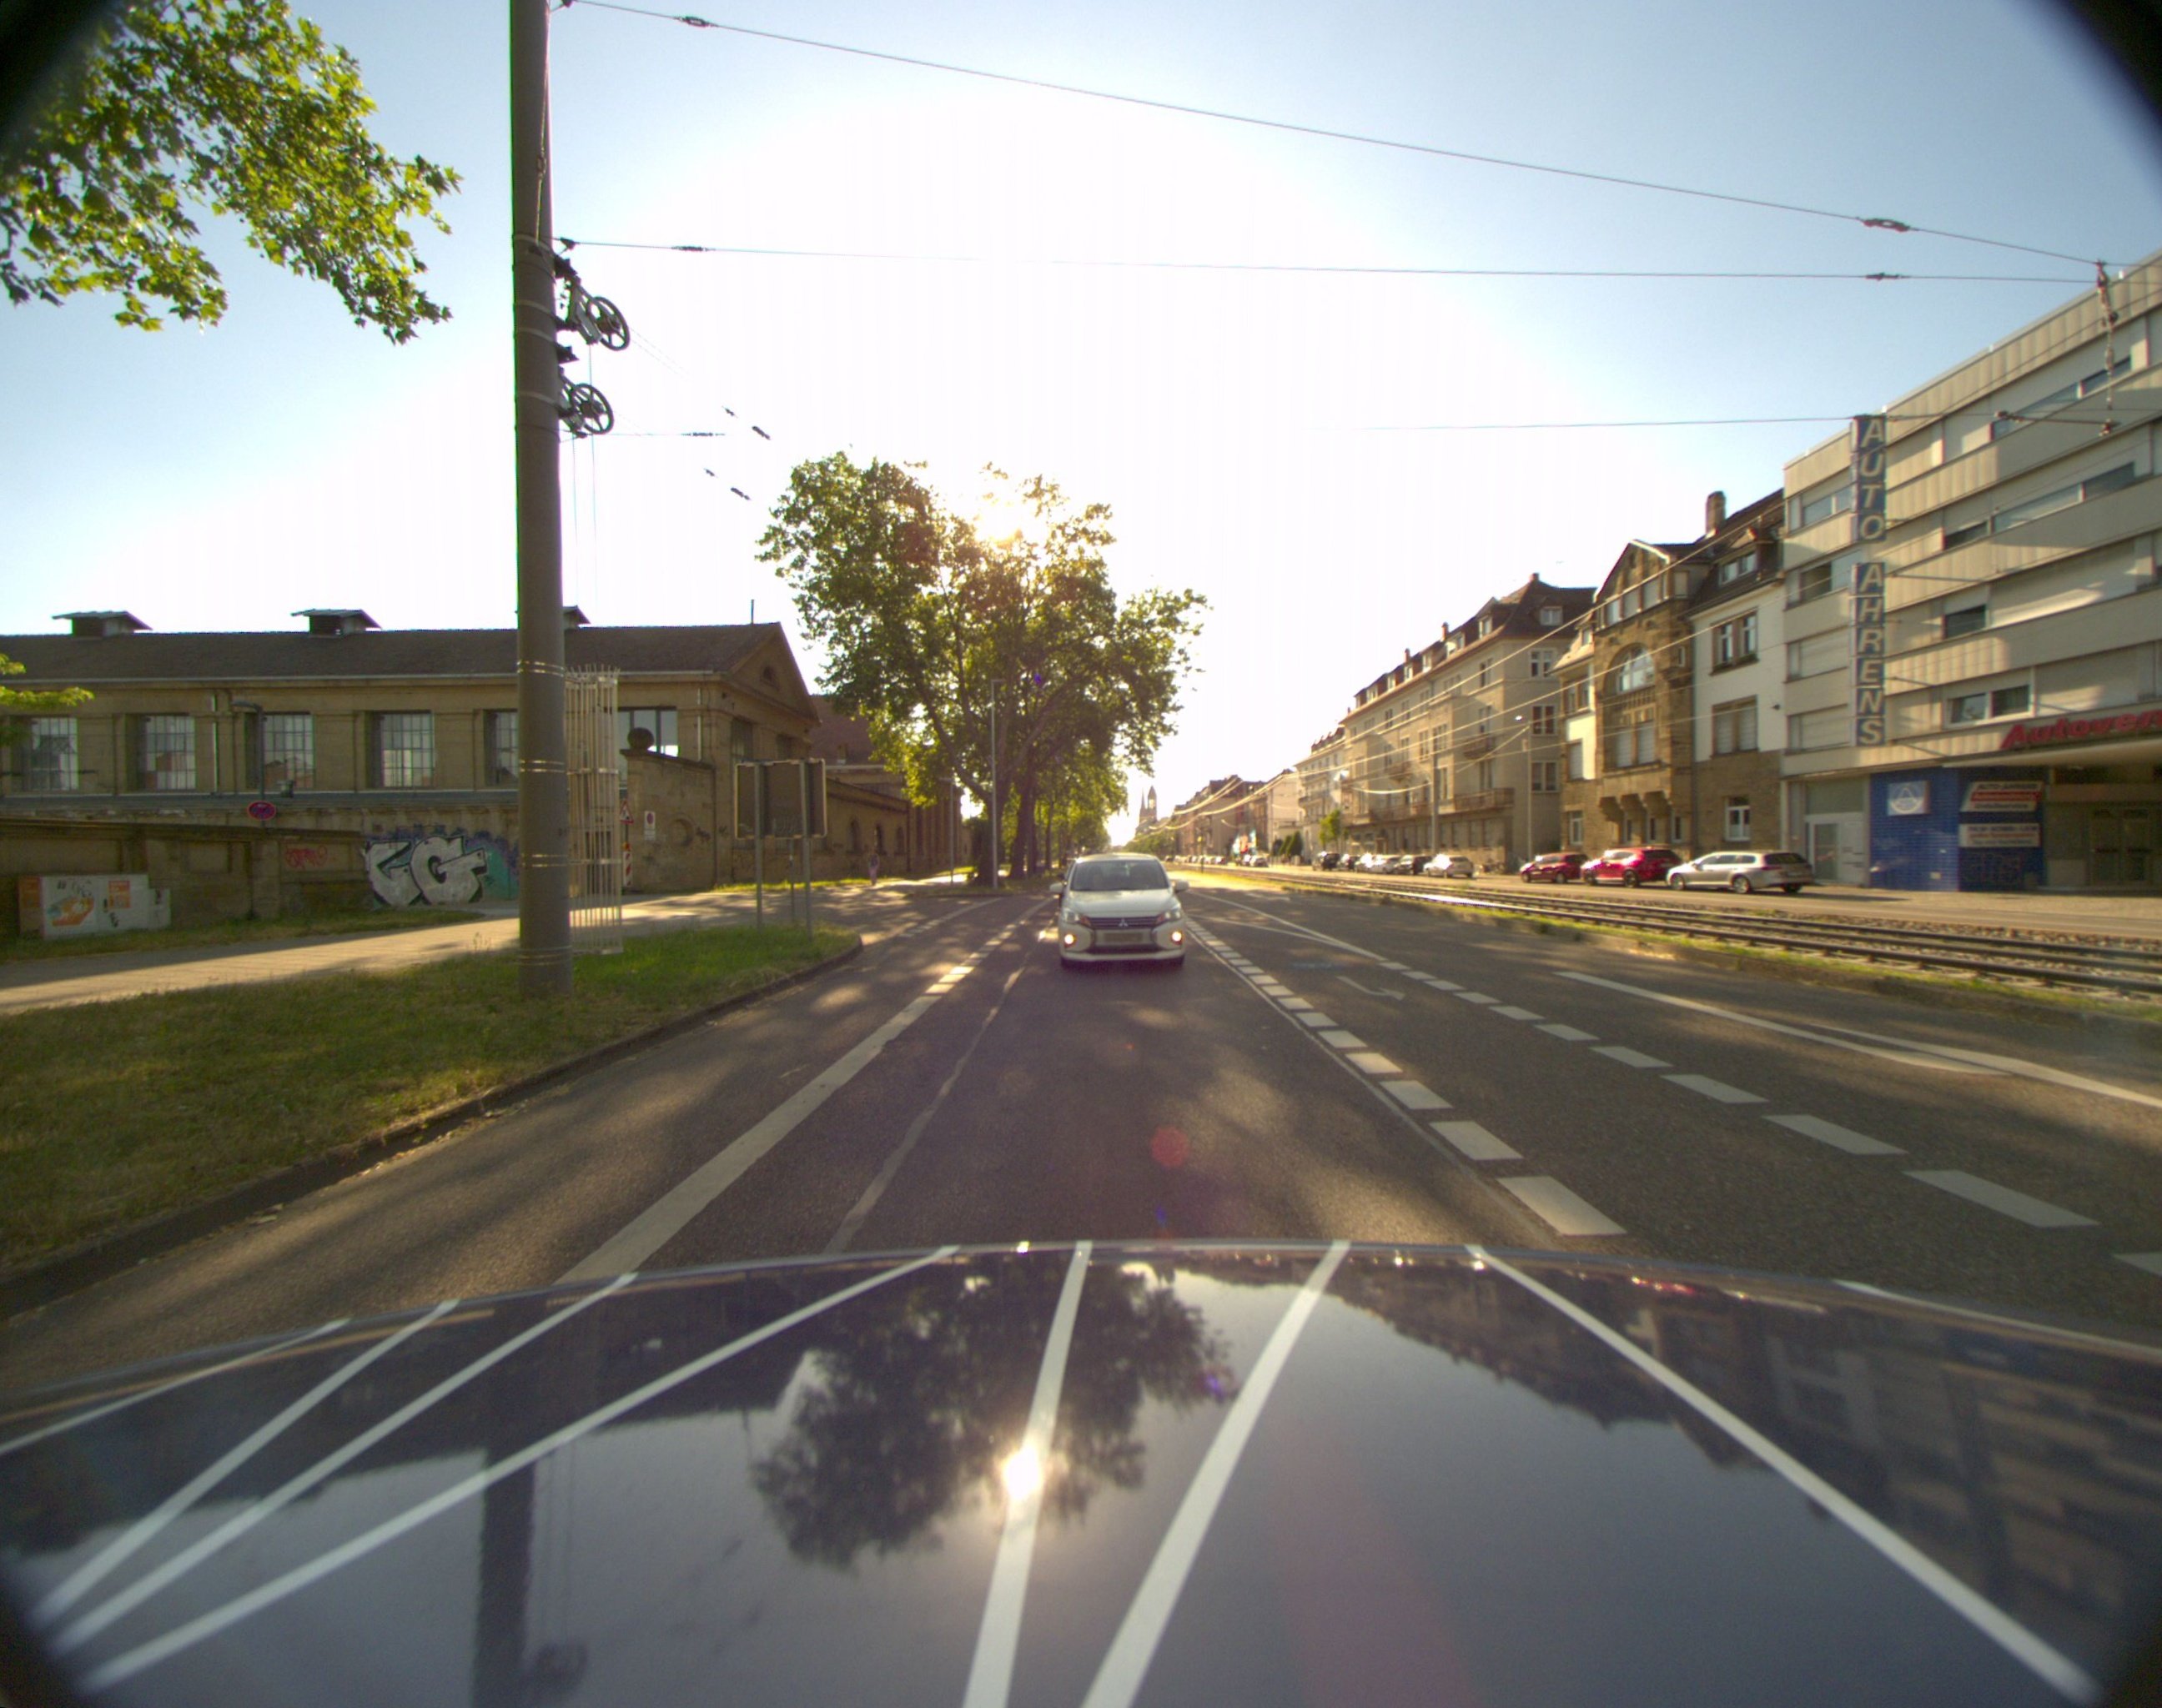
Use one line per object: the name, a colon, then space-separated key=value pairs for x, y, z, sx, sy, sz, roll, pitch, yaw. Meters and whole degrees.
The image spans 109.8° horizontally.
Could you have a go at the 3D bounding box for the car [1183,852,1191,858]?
car: x=26.518 y=0.222 z=189.591 sx=1.624 sy=1.581 sz=3.450 roll=-2 pitch=0 yaw=1

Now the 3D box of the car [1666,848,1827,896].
car: x=23.364 y=0.599 z=26.932 sx=1.860 sy=1.490 sz=4.382 roll=-2 pitch=0 yaw=0

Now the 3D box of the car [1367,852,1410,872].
car: x=23.744 y=0.587 z=58.784 sx=1.642 sy=1.438 sz=3.538 roll=-2 pitch=0 yaw=-6

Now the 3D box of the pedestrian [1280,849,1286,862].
pedestrian: x=27.102 y=0.194 z=101.883 sx=0.725 sy=1.779 sz=0.678 roll=0 pitch=1 yaw=1

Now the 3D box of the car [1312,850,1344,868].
car: x=24.384 y=0.468 z=75.097 sx=1.875 sy=1.726 sz=3.916 roll=-2 pitch=0 yaw=2

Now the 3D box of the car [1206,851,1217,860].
car: x=26.243 y=0.280 z=152.511 sx=1.624 sy=1.581 sz=3.450 roll=-2 pitch=0 yaw=1

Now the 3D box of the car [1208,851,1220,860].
car: x=25.718 y=0.288 z=147.120 sx=1.624 sy=1.581 sz=3.450 roll=-2 pitch=0 yaw=1

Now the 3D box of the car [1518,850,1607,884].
car: x=23.596 y=0.604 z=37.380 sx=1.756 sy=1.487 sz=3.728 roll=-2 pitch=0 yaw=-5

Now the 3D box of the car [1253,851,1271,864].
car: x=24.099 y=0.505 z=101.415 sx=1.677 sy=1.622 sz=3.408 roll=-2 pitch=0 yaw=2

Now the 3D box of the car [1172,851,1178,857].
car: x=28.116 y=-0.074 z=227.339 sx=1.624 sy=1.581 sz=3.450 roll=-2 pitch=0 yaw=1

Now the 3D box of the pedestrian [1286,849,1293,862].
pedestrian: x=27.915 y=0.171 z=101.852 sx=0.725 sy=1.779 sz=0.678 roll=0 pitch=1 yaw=1

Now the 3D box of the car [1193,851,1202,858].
car: x=27.097 y=0.091 z=177.046 sx=1.624 sy=1.581 sz=3.450 roll=-2 pitch=0 yaw=1

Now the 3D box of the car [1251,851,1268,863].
car: x=25.093 y=0.456 z=106.987 sx=1.684 sy=1.562 sz=3.388 roll=-2 pitch=0 yaw=1

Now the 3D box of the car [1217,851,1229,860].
car: x=25.795 y=0.278 z=137.917 sx=1.624 sy=1.581 sz=3.450 roll=-2 pitch=0 yaw=1

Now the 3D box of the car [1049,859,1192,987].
car: x=0.528 y=0.843 z=11.132 sx=1.686 sy=1.462 sz=4.055 roll=-1 pitch=0 yaw=2

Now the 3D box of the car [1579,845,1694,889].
car: x=23.436 y=0.522 z=32.286 sx=1.860 sy=1.677 sz=4.263 roll=-2 pitch=0 yaw=2

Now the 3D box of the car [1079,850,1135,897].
car: x=0.944 y=0.638 z=27.154 sx=1.833 sy=1.543 sz=4.000 roll=0 pitch=0 yaw=2

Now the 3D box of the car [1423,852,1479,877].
car: x=23.923 y=0.656 z=49.263 sx=1.802 sy=1.470 sz=3.823 roll=-2 pitch=0 yaw=2

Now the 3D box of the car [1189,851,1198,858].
car: x=26.921 y=0.093 z=181.960 sx=1.624 sy=1.581 sz=3.450 roll=-2 pitch=0 yaw=1

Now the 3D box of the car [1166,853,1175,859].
car: x=21.991 y=0.481 z=186.898 sx=1.822 sy=1.674 sz=4.000 roll=0 pitch=0 yaw=2

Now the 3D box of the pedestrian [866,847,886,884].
pedestrian: x=-9.379 y=0.528 z=34.765 sx=0.672 sy=1.652 sz=0.874 roll=0 pitch=1 yaw=3

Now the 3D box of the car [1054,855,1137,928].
car: x=0.350 y=0.778 z=17.661 sx=1.686 sy=1.462 sz=4.055 roll=-1 pitch=0 yaw=2

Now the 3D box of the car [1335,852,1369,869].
car: x=24.794 y=0.544 z=69.557 sx=1.802 sy=1.470 sz=3.823 roll=-2 pitch=0 yaw=2

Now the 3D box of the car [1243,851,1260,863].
car: x=24.984 y=0.421 z=111.559 sx=1.684 sy=1.562 sz=3.388 roll=-2 pitch=0 yaw=1

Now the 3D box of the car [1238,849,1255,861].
car: x=25.603 y=0.144 z=117.460 sx=1.727 sy=1.776 sz=3.881 roll=-2 pitch=0 yaw=1

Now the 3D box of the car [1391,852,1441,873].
car: x=24.046 y=0.583 z=54.673 sx=1.802 sy=1.422 sz=3.823 roll=-2 pitch=0 yaw=0

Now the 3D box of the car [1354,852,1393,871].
car: x=24.486 y=0.602 z=63.687 sx=1.802 sy=1.470 sz=3.823 roll=-2 pitch=0 yaw=2
